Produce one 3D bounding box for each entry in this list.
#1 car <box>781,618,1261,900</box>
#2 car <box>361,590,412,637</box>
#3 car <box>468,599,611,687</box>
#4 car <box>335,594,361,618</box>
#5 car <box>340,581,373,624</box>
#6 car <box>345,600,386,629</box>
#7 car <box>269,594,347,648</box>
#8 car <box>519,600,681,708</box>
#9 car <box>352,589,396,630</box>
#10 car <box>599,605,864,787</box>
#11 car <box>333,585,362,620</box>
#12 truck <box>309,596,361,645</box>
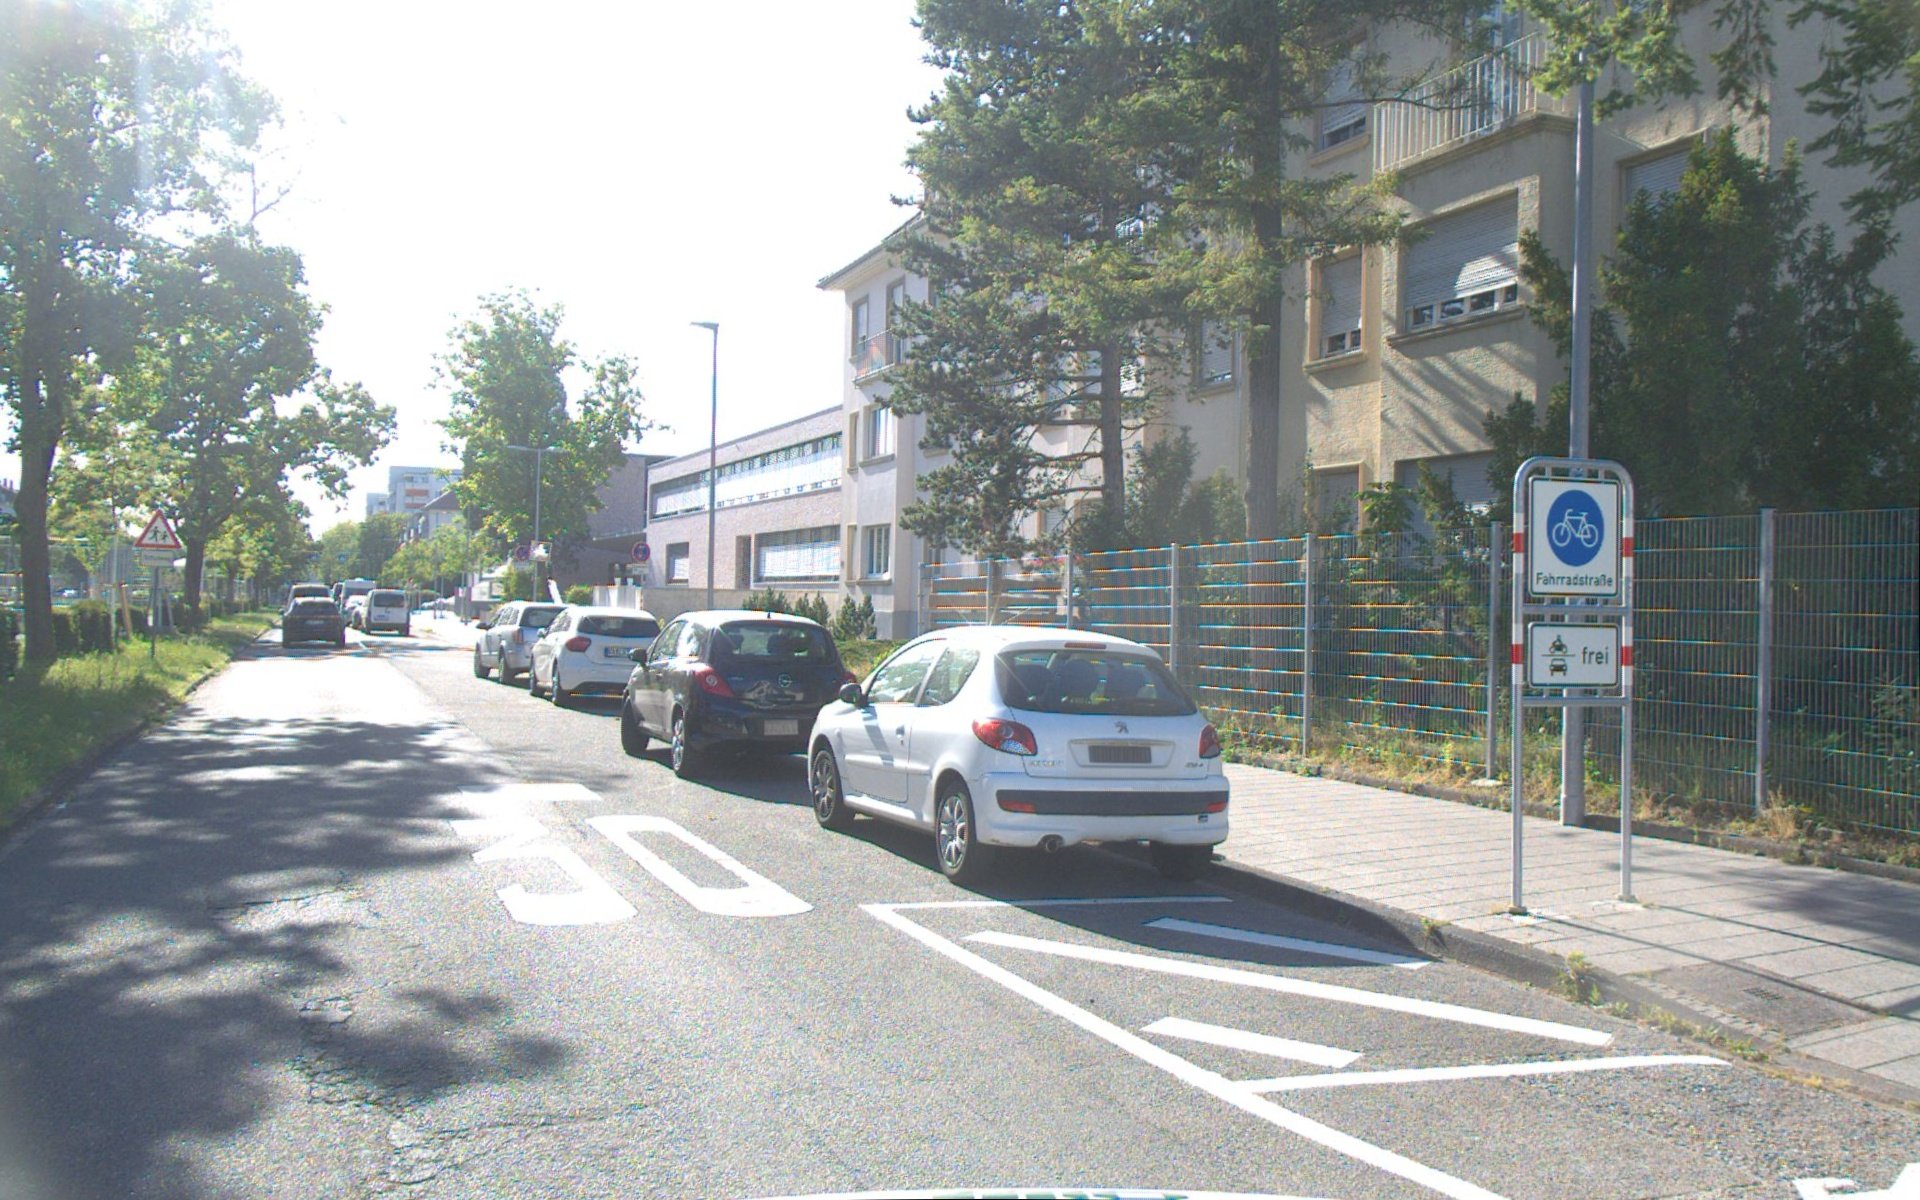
[{"bbox_3d":[0.192,0.875,10.692,1.678,1.423,3.750,2,-1,-22],"label":"car"},{"bbox_3d":[-23.935,0.543,68.990,1.792,1.862,3.973,1,0,-22],"label":"car"},{"bbox_3d":[-7.997,0.774,31.246,1.774,1.521,3.965,2,-1,-27],"label":"car"},{"bbox_3d":[-47.933,0.474,129.582,1.792,1.867,3.973,1,0,-22],"label":"car"},{"bbox_3d":[-37.464,0.149,102.661,1.792,2.562,3.973,1,0,-22],"label":"car"},{"bbox_3d":[-30.128,0.736,83.810,1.792,1.424,3.973,1,0,-22],"label":"car"},{"bbox_3d":[-20.044,0.629,50.729,1.968,1.551,4.719,1,0,-25],"label":"car"},{"bbox_3d":[-5.646,0.787,25.618,1.770,1.521,3.973,2,-1,-22],"label":"car"},{"bbox_3d":[-27.812,0.441,78.434,1.792,1.862,3.973,1,0,-22],"label":"car"},{"bbox_3d":[-2.331,0.845,16.056,1.648,1.521,3.800,2,-1,-22],"label":"car"},{"bbox_3d":[-43.760,0.192,118.096,1.792,2.395,3.973,1,0,-22],"label":"car"},{"bbox_3d":[-27.128,0.865,71.745,1.966,2.072,4.841,1,0,-22],"label":"truck"}]
